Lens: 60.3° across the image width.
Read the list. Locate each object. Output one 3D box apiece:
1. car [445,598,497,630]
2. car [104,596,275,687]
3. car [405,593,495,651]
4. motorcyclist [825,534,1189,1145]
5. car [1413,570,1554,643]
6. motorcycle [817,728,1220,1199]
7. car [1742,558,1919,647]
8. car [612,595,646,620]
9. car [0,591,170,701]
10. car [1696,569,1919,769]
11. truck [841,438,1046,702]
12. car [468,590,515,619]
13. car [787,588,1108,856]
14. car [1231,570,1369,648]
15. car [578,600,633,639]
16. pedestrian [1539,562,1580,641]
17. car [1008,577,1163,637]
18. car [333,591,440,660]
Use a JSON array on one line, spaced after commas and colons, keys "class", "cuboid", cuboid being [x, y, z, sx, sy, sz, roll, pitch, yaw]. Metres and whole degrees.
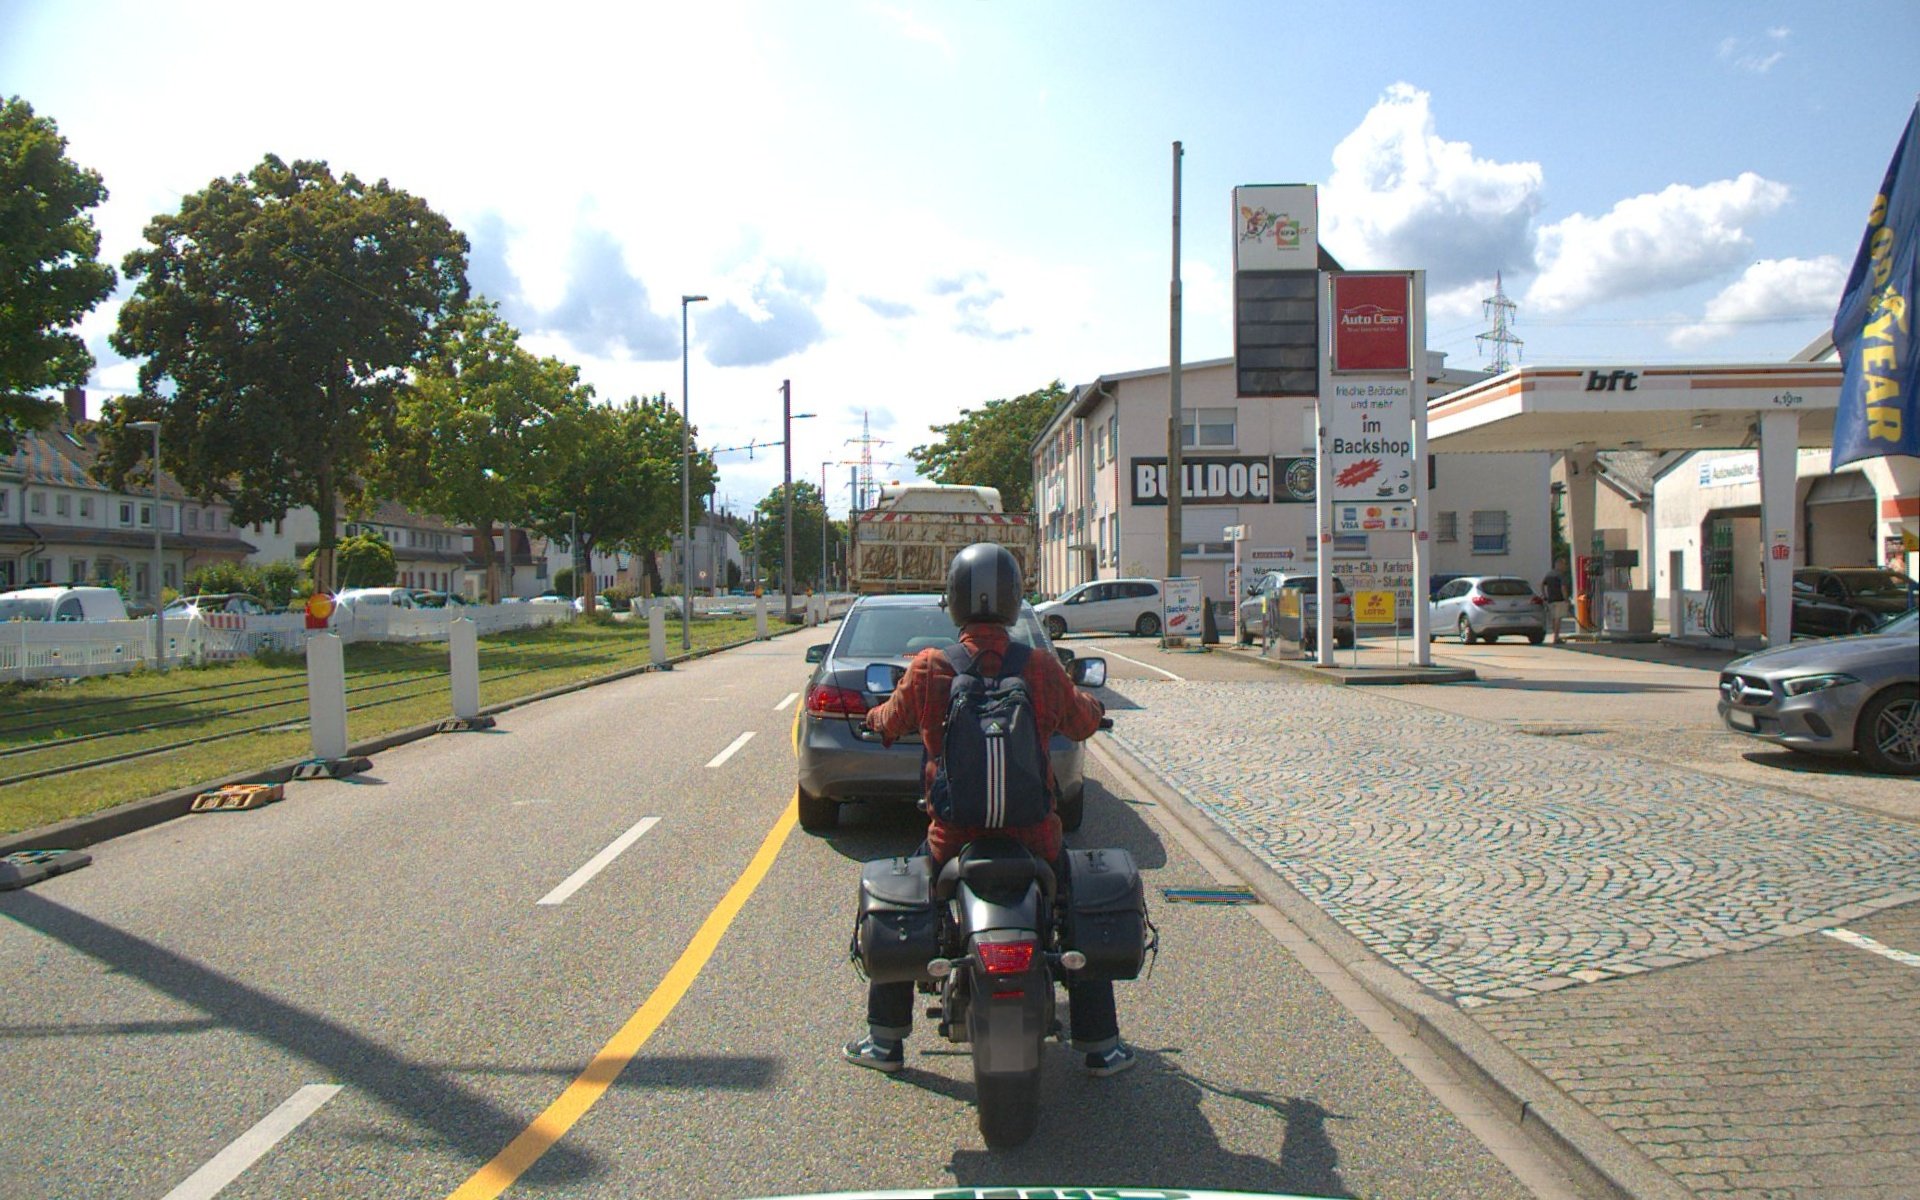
[{"class": "car", "cuboid": [-28.302, 0.773, 95.831, 1.740, 1.753, 4.127, -1, 0, -1]}, {"class": "car", "cuboid": [-16.674, 0.839, 36.022, 1.740, 1.805, 4.227, -1, 0, -1]}, {"class": "car", "cuboid": [-16.973, 0.696, 55.257, 1.740, 1.837, 4.127, -1, 0, -1]}, {"class": "motorcyclist", "cuboid": [0.121, 0.640, 5.015, 0.959, 1.630, 1.087, -1, 0, -1]}, {"class": "car", "cuboid": [11.721, 0.117, 37.263, 1.770, 1.529, 3.831, -1, 0, -3]}, {"class": "motorcycle", "cuboid": [0.123, 0.994, 5.321, 0.959, 0.913, 2.653, -1, 0, -1]}, {"class": "car", "cuboid": [16.396, 0.024, 30.747, 1.770, 1.529, 3.832, -1, 0, -3]}, {"class": "car", "cuboid": [-24.967, 0.542, 124.848, 1.740, 1.753, 4.127, -1, 0, -1]}, {"class": "car", "cuboid": [-16.433, 0.781, 30.386, 1.740, 1.853, 4.363, -1, 0, -1]}, {"class": "car", "cuboid": [8.156, 0.465, 12.772, 4.182, 1.440, 1.675, -1, 0, 4]}, {"class": "truck", "cuboid": [-0.264, -0.425, 25.362, 2.585, 3.354, 8.055, -1, 0, -1]}, {"class": "car", "cuboid": [-29.428, 0.270, 103.948, 1.740, 1.753, 4.127, -1, 0, -1]}, {"class": "car", "cuboid": [-0.096, 0.679, 11.338, 1.786, 1.478, 3.999, 1, 0, -1]}, {"class": "car", "cuboid": [7.457, 0.174, 36.628, 1.636, 1.589, 4.236, -1, 0, -8]}, {"class": "car", "cuboid": [-17.057, 0.905, 79.682, 1.740, 1.753, 4.127, -1, 0, -1]}, {"class": "pedestrian", "cuboid": [12.953, 0.028, 35.710, 0.696, 1.685, 0.546, -1, 0, 35]}, {"class": "car", "cuboid": [3.551, 0.182, 47.092, 4.152, 1.570, 1.669, -1, 0, -9]}, {"class": "car", "cuboid": [-16.941, 0.712, 49.079, 1.740, 1.900, 4.127, -1, 0, -1]}]
